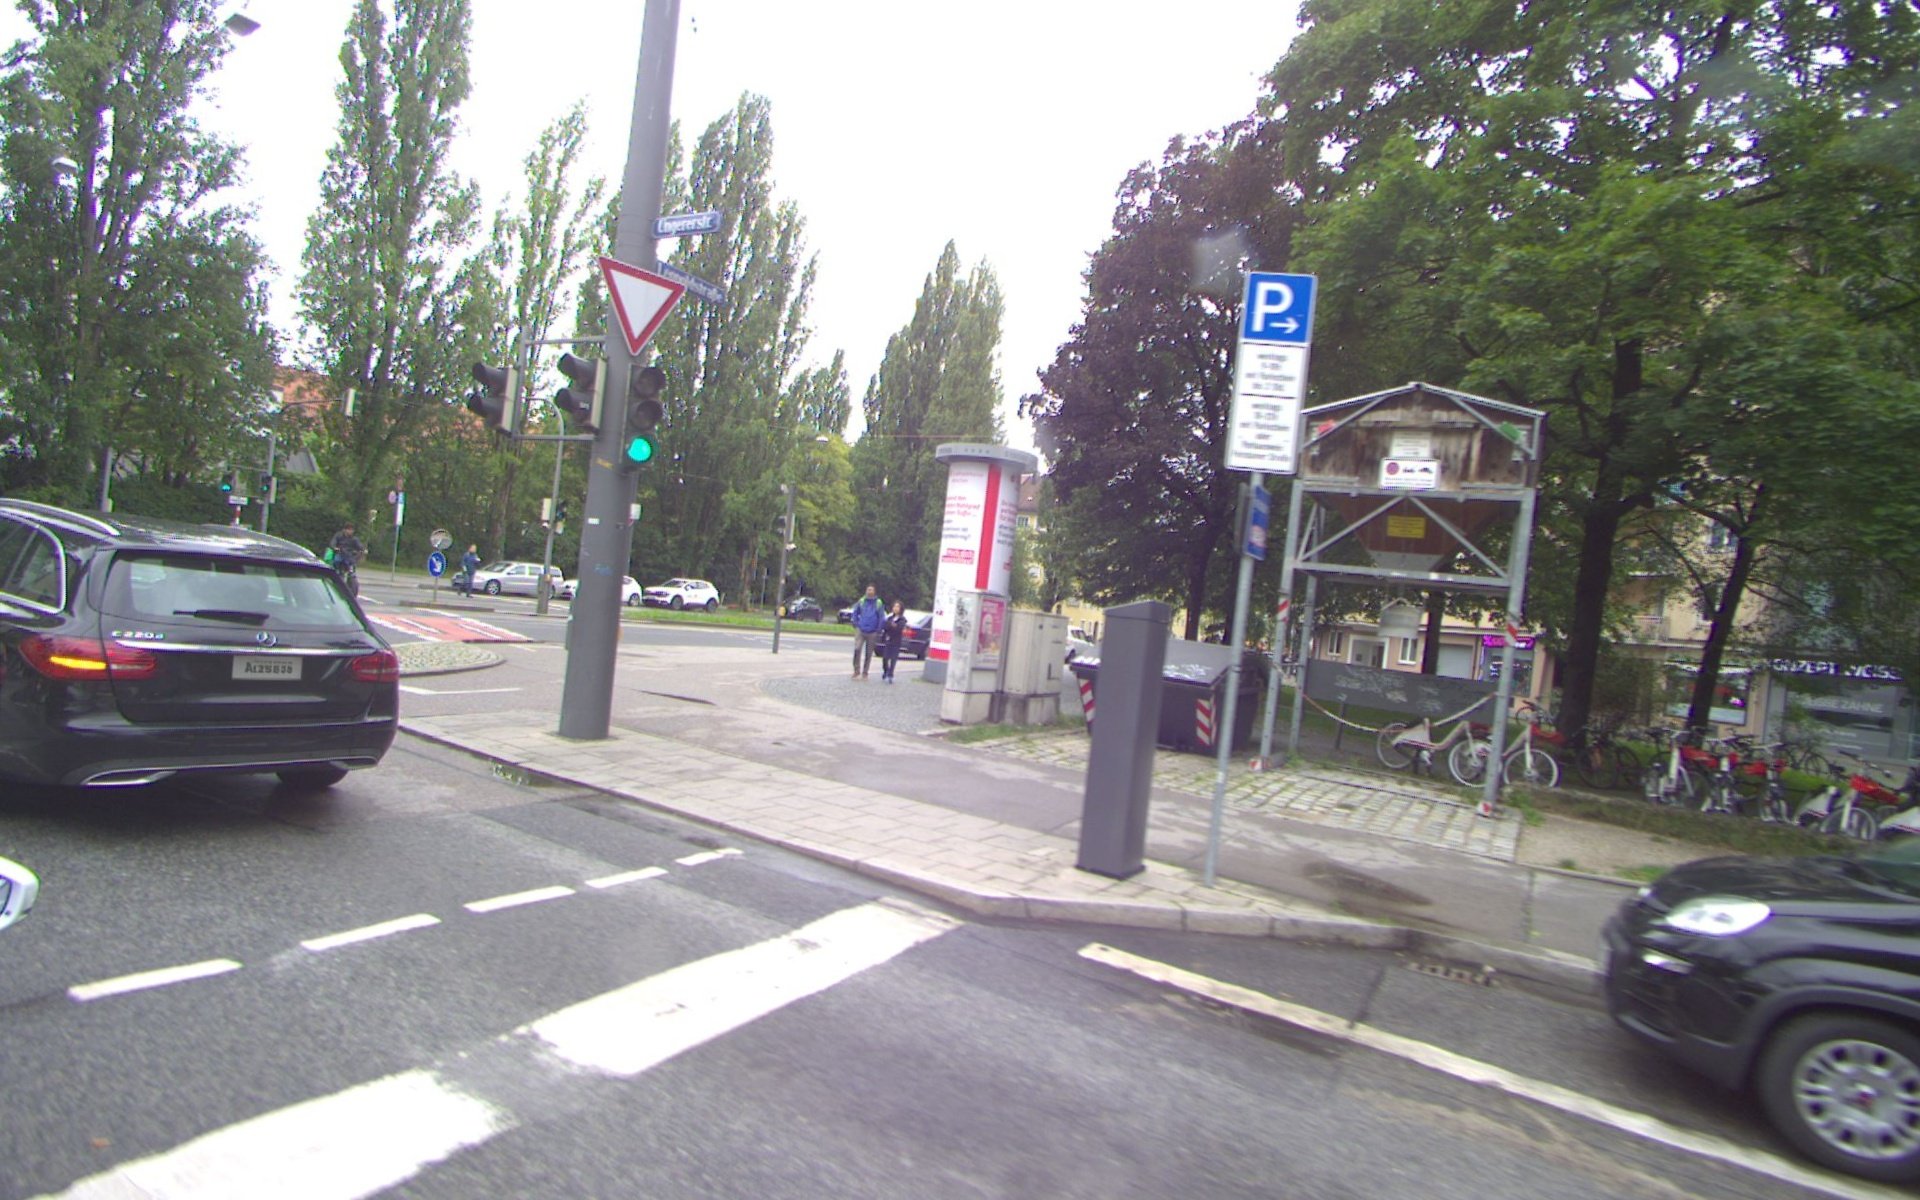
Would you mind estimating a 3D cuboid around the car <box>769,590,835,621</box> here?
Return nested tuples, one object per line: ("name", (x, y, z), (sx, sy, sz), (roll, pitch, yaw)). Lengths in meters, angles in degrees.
("car", (-9.501, 0.346, 60.697), (1.755, 1.504, 4.135), (6, -1, 27))

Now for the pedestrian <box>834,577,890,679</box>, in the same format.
("pedestrian", (-1.691, 0.472, 17.399), (0.536, 1.684, 0.718), (6, 4, 30))

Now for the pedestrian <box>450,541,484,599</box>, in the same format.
("pedestrian", (-15.301, -0.929, 31.210), (0.692, 1.682, 0.550), (7, -1, -19))

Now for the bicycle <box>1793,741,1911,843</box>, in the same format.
("bicycle", (9.538, 2.024, 10.803), (0.307, 0.904, 1.414), (6, -2, 17))

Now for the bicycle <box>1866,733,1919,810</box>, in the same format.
("bicycle", (19.563, 3.543, 20.075), (0.619, 1.374, 2.467), (7, 1, 2))

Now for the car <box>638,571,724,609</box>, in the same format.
("car", (-14.079, -0.464, 50.996), (1.755, 1.504, 4.135), (6, -1, 27))

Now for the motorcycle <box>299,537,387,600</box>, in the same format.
("motorcycle", (-13.903, -0.721, 22.650), (1.993, 1.183, 0.630), (6, -2, 27))

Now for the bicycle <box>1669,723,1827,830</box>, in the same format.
("bicycle", (12.774, 2.817, 16.437), (0.619, 1.372, 2.471), (7, -2, 3))

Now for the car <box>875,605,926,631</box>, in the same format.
("car", (-4.216, 1.299, 72.016), (1.755, 1.504, 4.135), (6, -1, 27))

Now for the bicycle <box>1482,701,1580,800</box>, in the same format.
("bicycle", (7.125, 1.838, 12.649), (0.619, 1.028, 2.241), (6, -2, 20))

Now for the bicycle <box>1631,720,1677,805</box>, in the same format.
("bicycle", (8.235, 1.908, 11.920), (0.308, 0.904, 1.408), (6, -2, 37))

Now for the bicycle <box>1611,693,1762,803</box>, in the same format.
("bicycle", (11.753, 2.353, 16.411), (0.619, 1.374, 2.469), (7, 0, 3))

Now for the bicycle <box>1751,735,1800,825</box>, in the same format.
("bicycle", (9.107, 1.989, 11.252), (0.308, 0.904, 1.408), (6, -2, 37))

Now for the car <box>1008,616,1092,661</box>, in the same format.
("car", (3.603, 1.552, 39.631), (1.700, 1.424, 4.371), (7, 0, 26))

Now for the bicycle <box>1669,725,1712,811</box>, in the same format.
("bicycle", (8.509, 1.933, 11.701), (0.308, 0.904, 1.408), (6, -2, 37))

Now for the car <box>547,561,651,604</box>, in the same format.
("car", (-16.533, -0.760, 46.270), (1.756, 1.504, 4.252), (6, -1, 30))

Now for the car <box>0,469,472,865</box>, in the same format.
("car", (-5.226, 0.144, 5.985), (4.625, 1.567, 1.867), (7, -2, 32))

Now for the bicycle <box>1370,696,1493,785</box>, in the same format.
("bicycle", (6.092, 1.802, 13.067), (0.310, 0.904, 1.400), (7, 0, -33))

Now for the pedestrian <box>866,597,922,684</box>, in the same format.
("pedestrian", (-1.126, 0.695, 17.283), (0.536, 1.422, 0.719), (6, 2, 30))

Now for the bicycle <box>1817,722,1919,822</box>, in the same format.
("bicycle", (16.148, 2.988, 17.288), (0.619, 1.374, 2.467), (7, 1, 2))

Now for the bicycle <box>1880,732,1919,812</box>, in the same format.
("bicycle", (18.191, 3.289, 18.255), (0.619, 1.374, 2.467), (7, 1, 2))

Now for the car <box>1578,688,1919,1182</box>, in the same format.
("car", (4.910, 1.416, 3.578), (4.479, 1.568, 1.832), (7, 0, 32))

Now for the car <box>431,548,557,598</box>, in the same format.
("car", (-18.908, -1.072, 41.018), (1.756, 1.504, 4.345), (6, -1, 30))

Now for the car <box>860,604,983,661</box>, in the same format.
("car", (-1.010, 0.969, 28.784), (1.700, 1.332, 3.996), (7, 0, 26))

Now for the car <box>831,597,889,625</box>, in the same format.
("car", (-6.626, 0.773, 66.992), (1.755, 1.504, 4.135), (6, -1, 27))

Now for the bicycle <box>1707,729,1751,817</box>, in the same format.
("bicycle", (8.773, 1.957, 11.489), (0.308, 0.904, 1.408), (6, -2, 37))

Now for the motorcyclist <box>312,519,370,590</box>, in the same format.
("motorcyclist", (-13.961, -1.023, 22.700), (0.866, 1.459, 0.620), (6, -1, 27))

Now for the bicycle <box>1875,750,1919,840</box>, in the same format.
("bicycle", (10.521, 2.144, 10.690), (0.307, 0.904, 1.413), (7, -1, 5))
